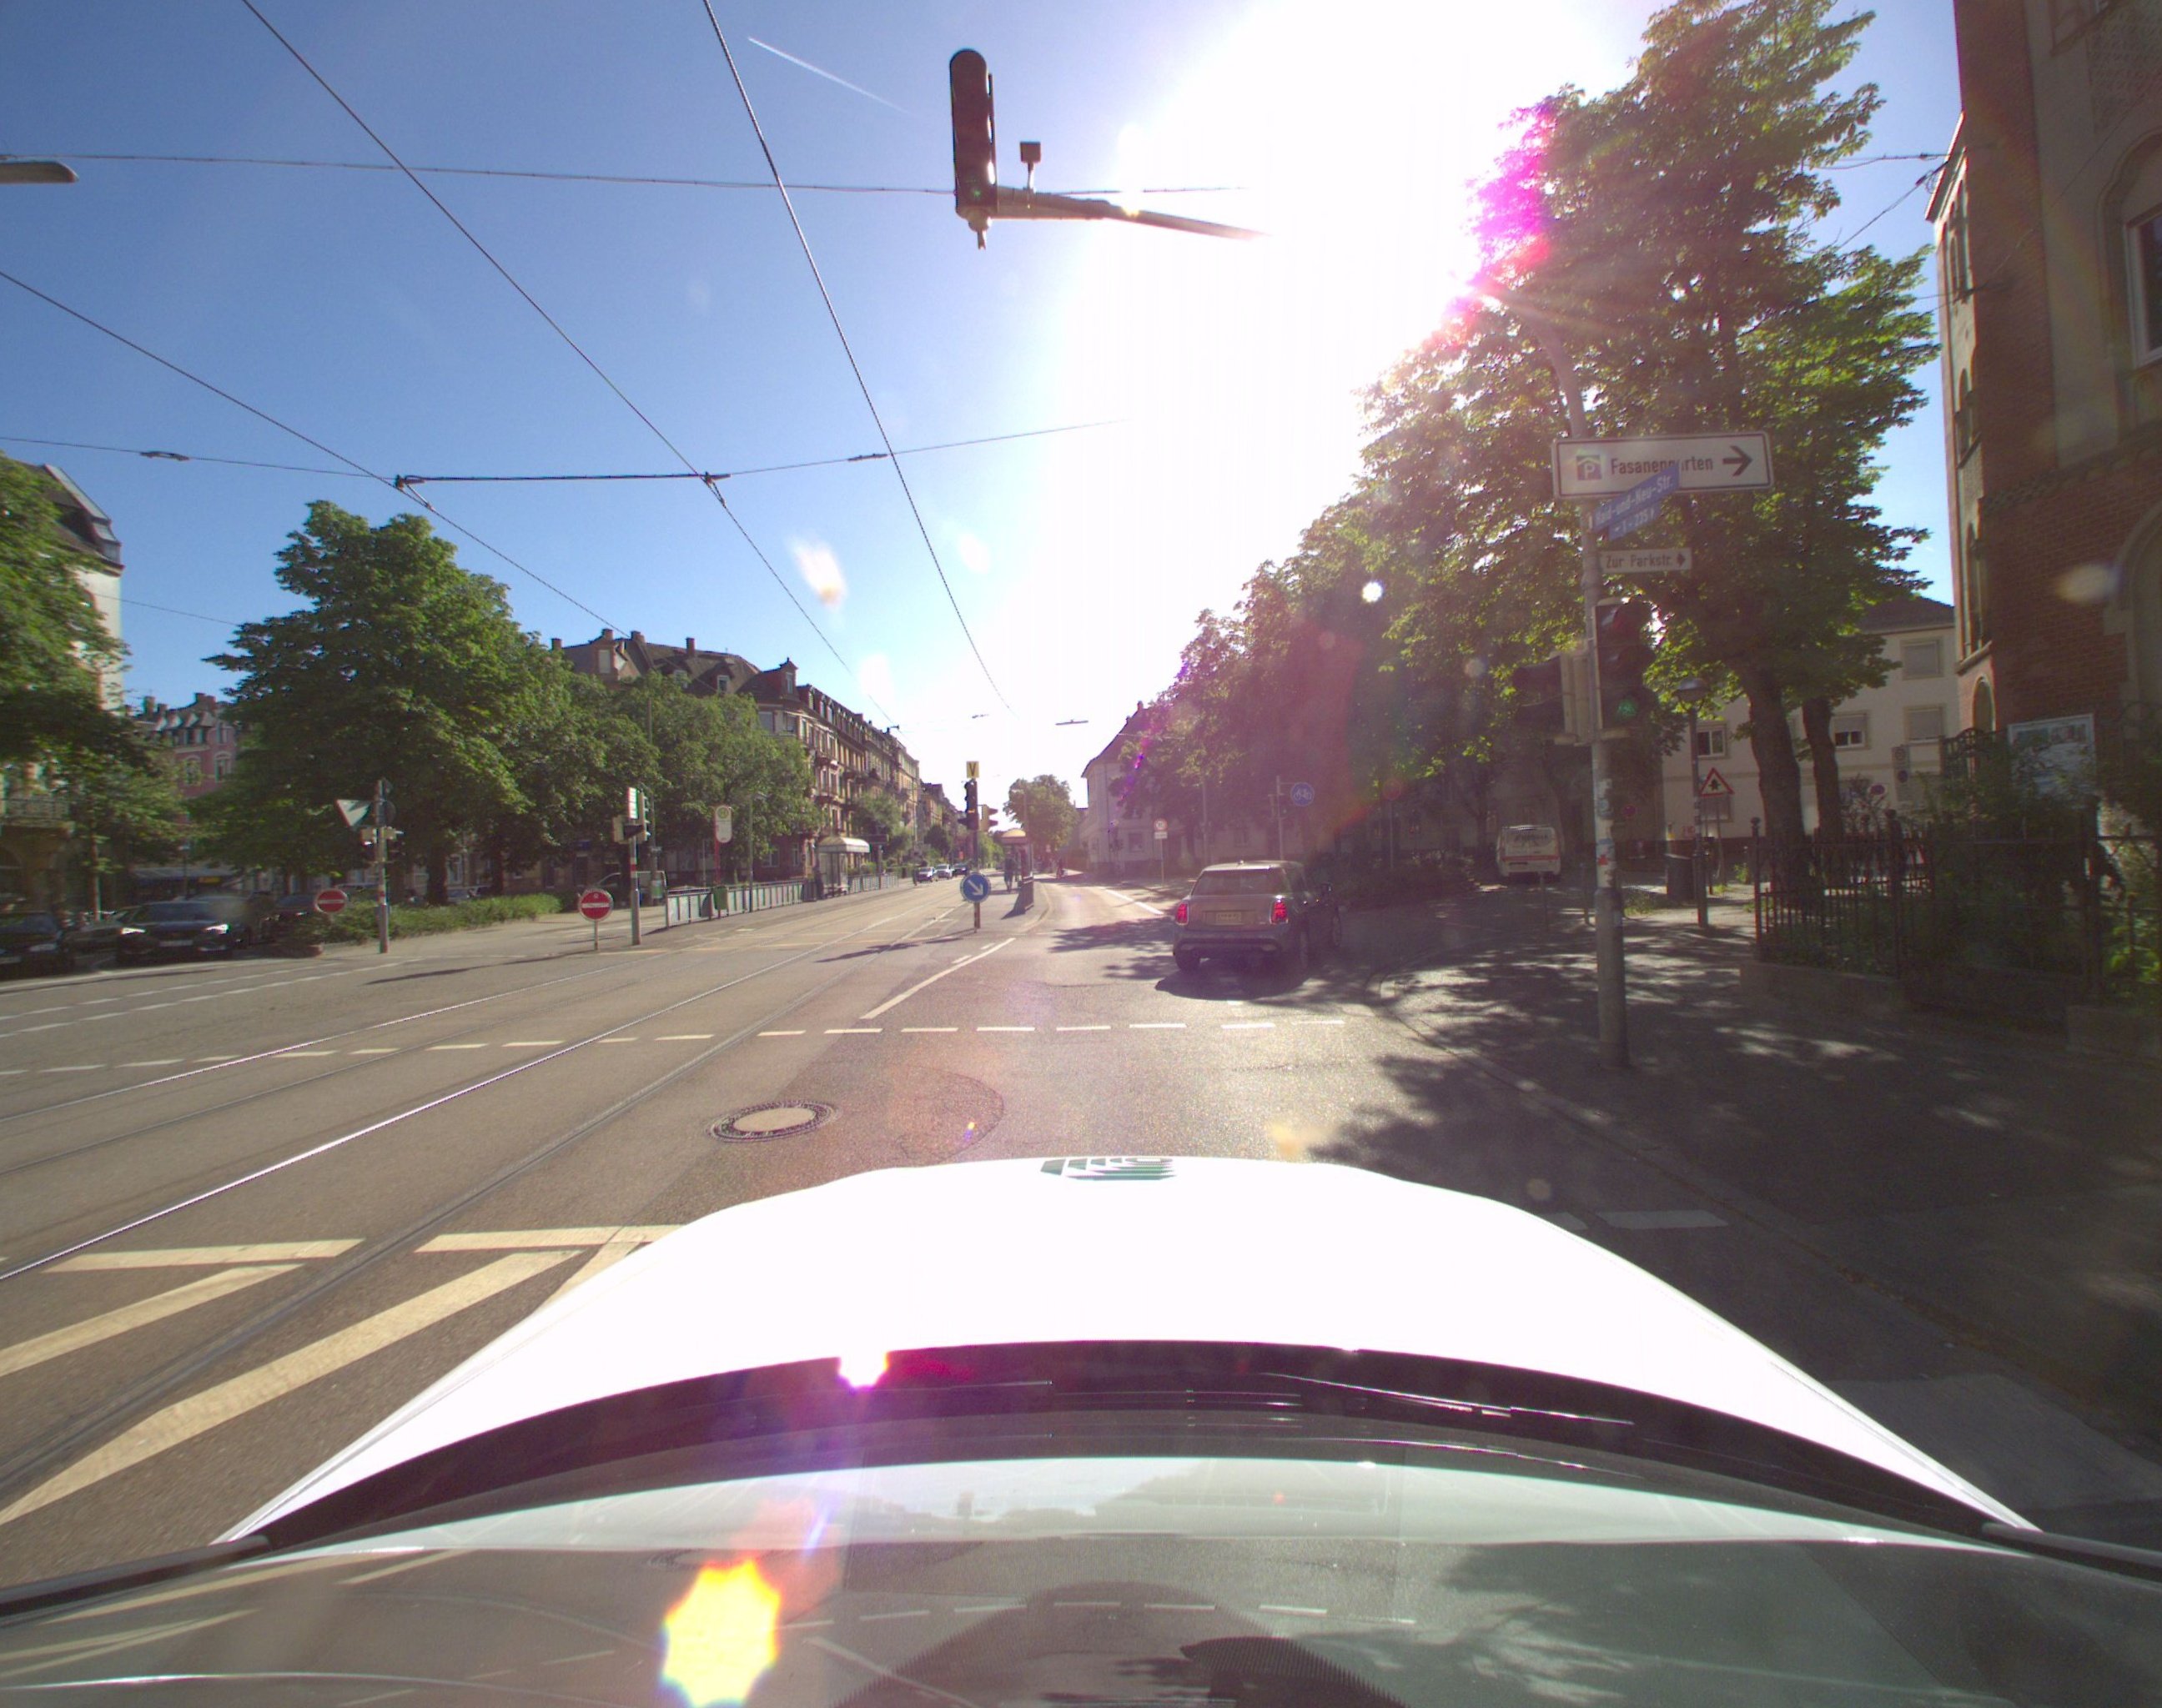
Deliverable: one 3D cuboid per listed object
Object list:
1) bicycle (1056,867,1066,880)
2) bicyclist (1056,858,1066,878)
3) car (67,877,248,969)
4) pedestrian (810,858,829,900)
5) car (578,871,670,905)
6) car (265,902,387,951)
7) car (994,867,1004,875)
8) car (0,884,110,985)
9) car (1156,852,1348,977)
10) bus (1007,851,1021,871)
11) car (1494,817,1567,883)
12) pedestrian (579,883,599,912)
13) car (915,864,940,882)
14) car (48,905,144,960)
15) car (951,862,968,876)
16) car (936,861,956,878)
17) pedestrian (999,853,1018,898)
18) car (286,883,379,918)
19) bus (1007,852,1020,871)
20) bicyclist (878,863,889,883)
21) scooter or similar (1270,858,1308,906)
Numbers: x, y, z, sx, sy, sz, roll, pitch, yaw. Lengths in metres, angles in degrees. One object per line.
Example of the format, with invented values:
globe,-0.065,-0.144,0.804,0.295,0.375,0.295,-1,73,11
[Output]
bicycle,-1.815,1.779,73.606,0.840,1.156,2.535,-2,-1,-3
bicyclist,-1.835,1.262,73.630,0.816,1.811,1.057,-2,-1,-4
car,-22.782,1.644,20.090,3.950,2.014,2.012,-2,-1,27
pedestrian,-11.601,1.108,36.094,0.605,1.795,0.578,-3,0,-5
car,-30.013,2.187,53.679,5.036,2.014,1.984,-1,-1,-24
car,-28.952,2.737,31.399,1.751,1.431,3.979,-3,1,-16
car,-18.459,3.877,183.961,1.988,1.596,3.998,-2,-1,-1
car,-23.625,1.736,17.933,3.950,2.014,2.012,-2,-1,27
car,2.674,0.761,11.946,1.799,1.488,4.023,-2,-1,26
bus,-12.504,1.388,152.389,2.382,3.496,7.368,-1,-1,-6
car,16.471,-0.113,30.029,2.098,2.208,4.974,-2,-1,27
pedestrian,-21.365,1.889,35.361,0.608,1.201,0.575,-3,0,-20
car,-14.150,1.766,75.281,1.773,1.618,3.993,-2,-1,-5
car,-31.548,2.460,26.183,3.949,1.431,1.765,-2,1,42
car,-14.766,1.836,99.240,1.773,1.618,3.993,-2,-1,-5
car,-14.085,1.605,85.106,1.773,1.618,3.993,-2,-1,-5
pedestrian,-3.297,0.991,37.079,0.794,2.014,0.739,-2,-1,-3
car,-46.608,2.903,50.740,4.543,2.014,2.007,-2,-1,12
bus,-13.205,1.481,159.749,2.382,3.496,7.368,-1,-1,-6
bicyclist,-16.655,1.598,68.777,0.711,1.665,0.734,-2,-1,0
scooter or similar,5.914,0.781,23.254,0.674,1.310,1.327,-2,-1,-2
